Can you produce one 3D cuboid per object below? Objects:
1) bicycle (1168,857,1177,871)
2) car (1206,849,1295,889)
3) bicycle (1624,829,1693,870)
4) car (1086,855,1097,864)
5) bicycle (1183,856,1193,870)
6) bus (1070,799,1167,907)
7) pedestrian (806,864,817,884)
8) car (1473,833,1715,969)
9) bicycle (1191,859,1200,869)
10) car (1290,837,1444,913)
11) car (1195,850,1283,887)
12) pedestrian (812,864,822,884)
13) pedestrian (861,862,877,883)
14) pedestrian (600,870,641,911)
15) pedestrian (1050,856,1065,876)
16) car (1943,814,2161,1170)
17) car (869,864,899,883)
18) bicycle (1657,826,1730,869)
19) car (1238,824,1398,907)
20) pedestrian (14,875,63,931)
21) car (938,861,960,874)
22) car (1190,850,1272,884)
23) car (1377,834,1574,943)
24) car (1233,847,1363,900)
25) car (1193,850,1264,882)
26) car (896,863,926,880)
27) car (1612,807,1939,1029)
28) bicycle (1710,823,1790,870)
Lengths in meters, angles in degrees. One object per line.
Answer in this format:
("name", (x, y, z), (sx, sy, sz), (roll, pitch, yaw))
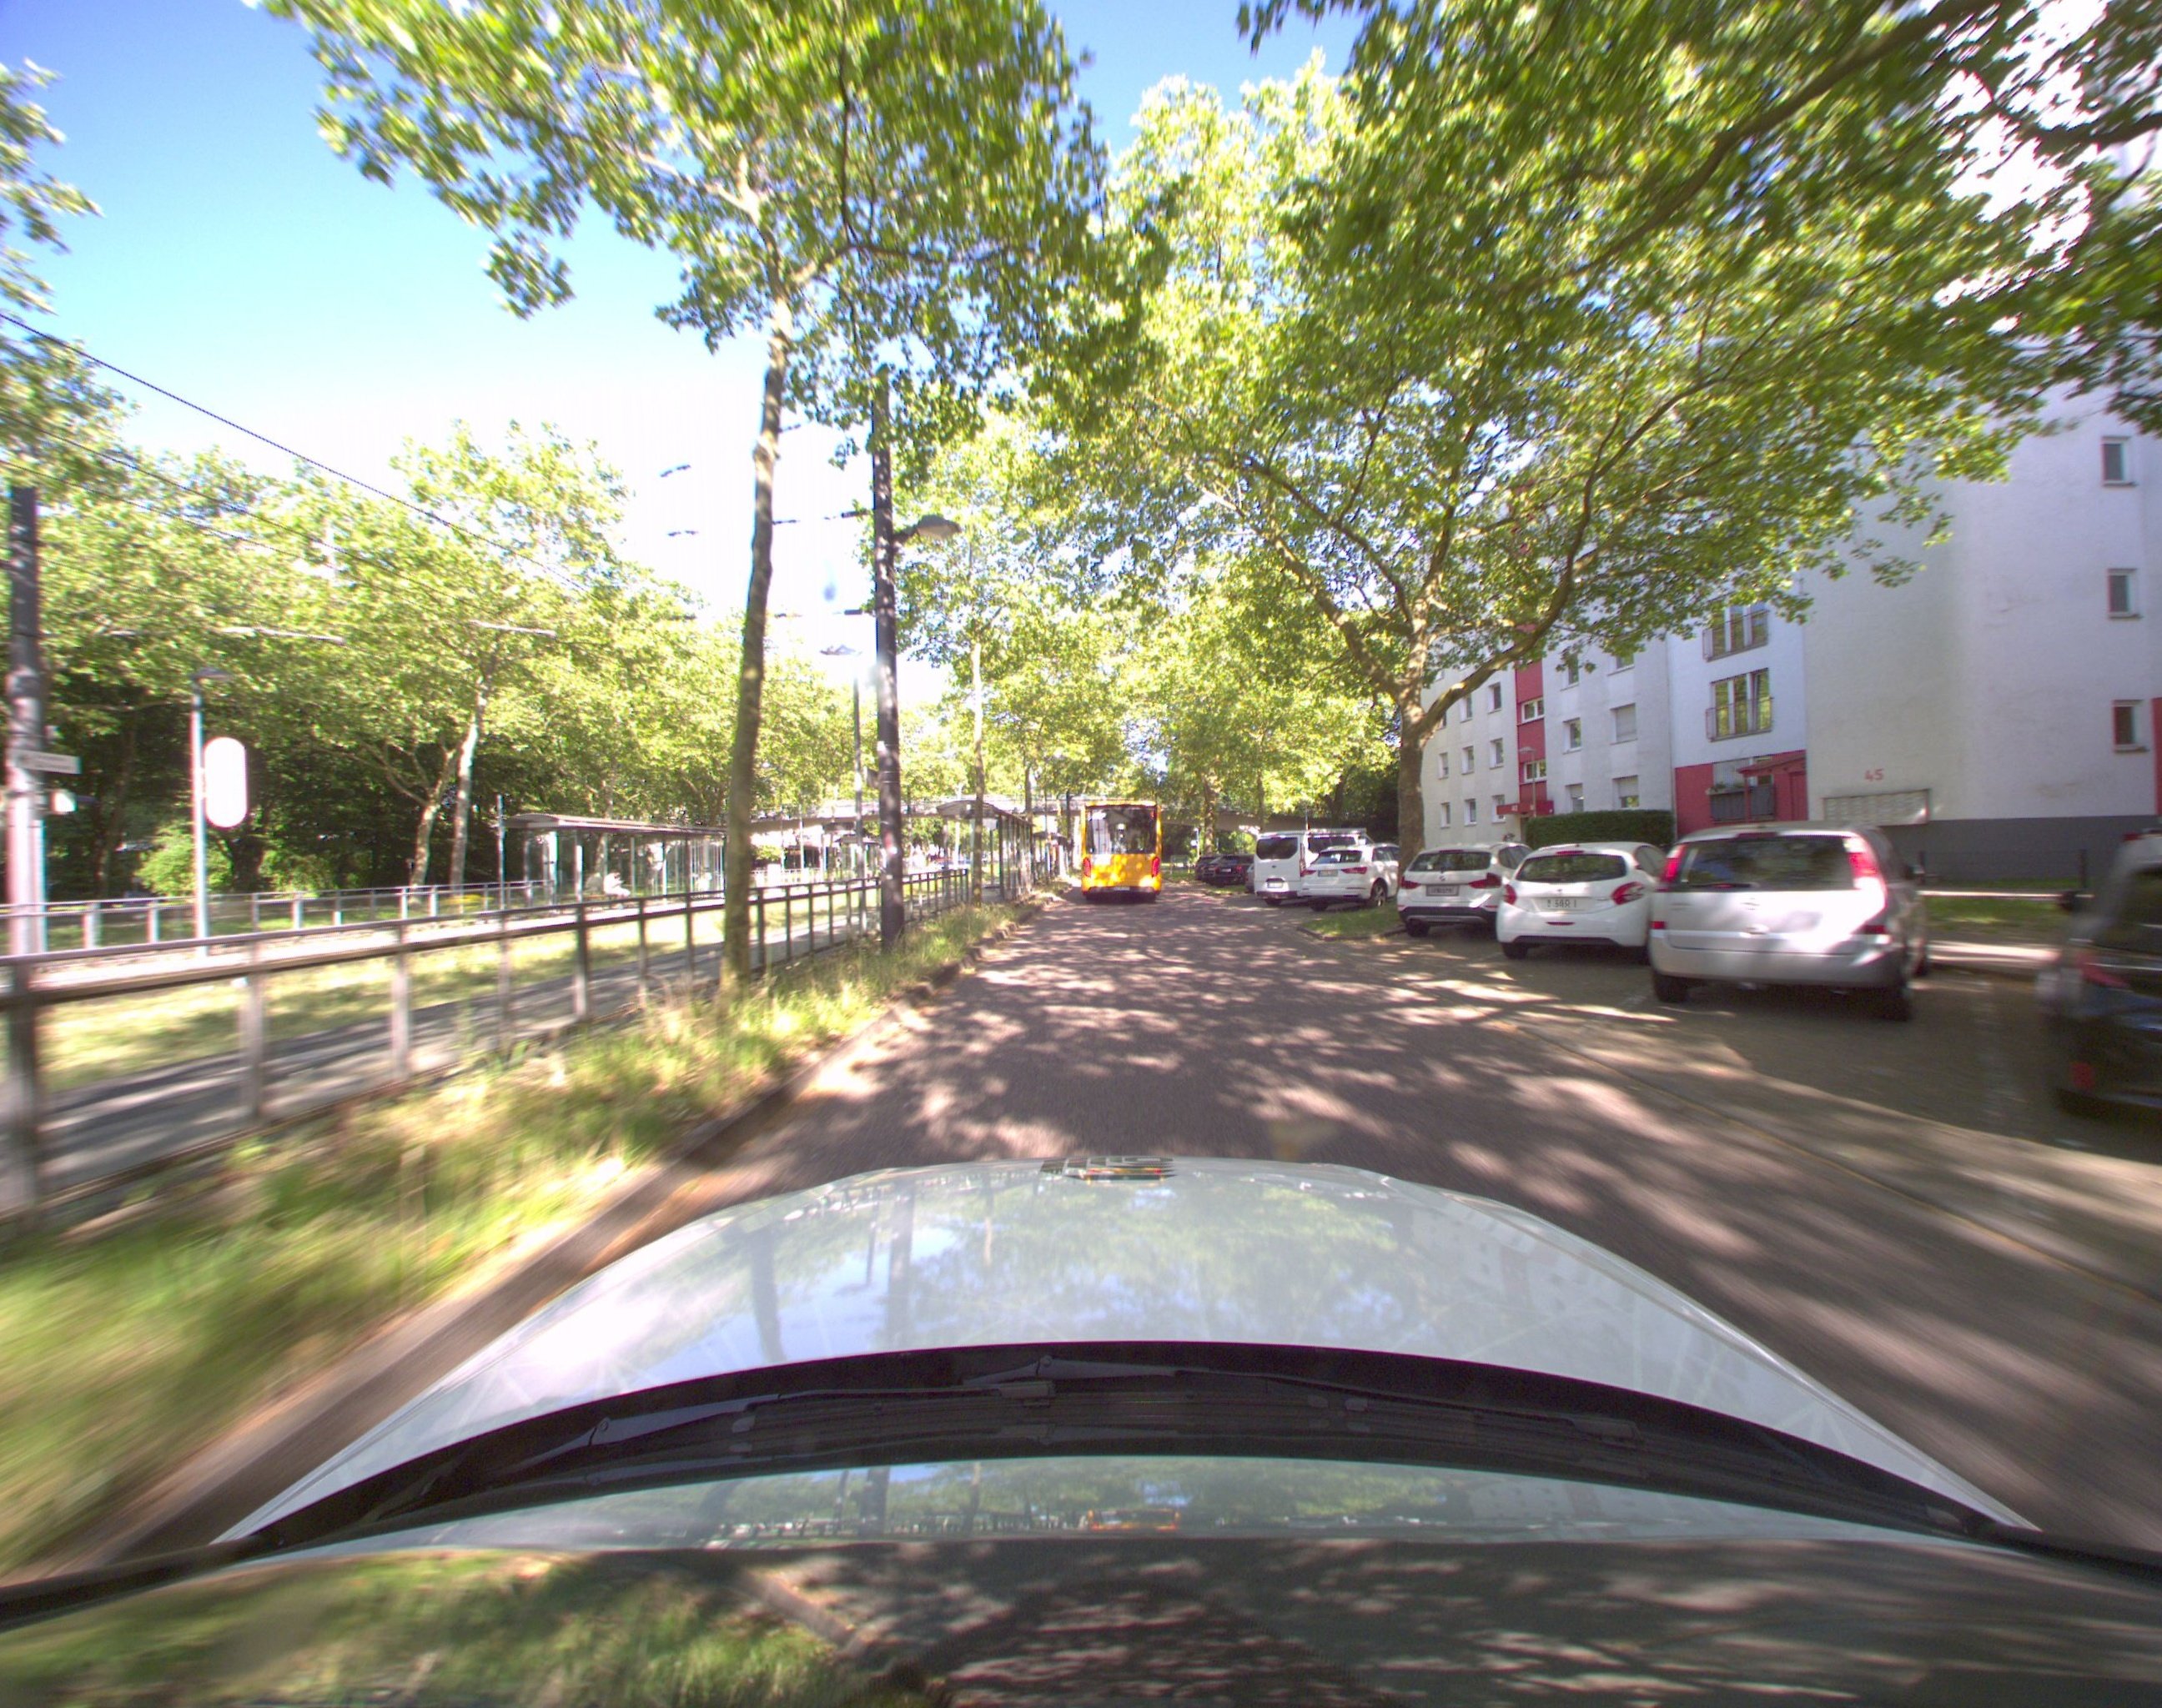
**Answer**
("bicycle", (8.047, 0.878, 71.567), (0.588, 1.182, 1.800), (-5, 0, 1))
("car", (7.601, 0.650, 36.443), (4.022, 1.468, 1.761), (-4, -1, -41))
("bicycle", (18.175, -0.147, 25.623), (1.790, 1.129, 0.499), (-5, 0, -4))
("car", (2.031, 1.046, 154.675), (1.978, 1.643, 4.137), (1, 1, 3))
("bicycle", (9.432, 0.756, 71.523), (0.588, 1.182, 1.800), (-5, 0, 1))
("bus", (1.271, -0.004, 31.254), (2.889, 3.267, 12.219), (-2, 0, 1))
("pedestrian", (-22.828, 1.712, 69.040), (0.646, 1.661, 0.649), (-2, -1, -3))
("car", (7.139, 0.533, 11.160), (4.023, 1.419, 1.809), (-4, -1, -44))
("bicycle", (10.021, 0.875, 71.388), (0.503, 0.852, 1.474), (-5, 0, 1))
("car", (7.242, 0.486, 20.441), (4.080, 1.580, 1.811), (-4, -1, -41))
("car", (7.710, 0.685, 39.524), (4.278, 1.461, 1.779), (-4, -1, -39))
("pedestrian", (-22.604, 1.711, 69.822), (0.646, 1.661, 0.649), (-2, -1, -3))
("pedestrian", (-12.923, 1.119, 49.641), (0.775, 1.238, 0.722), (-1, 0, 0))
("pedestrian", (-13.863, 1.085, 24.517), (0.763, 1.183, 0.763), (-1, 0, 2))
("pedestrian", (-1.454, 0.746, 50.460), (0.851, 1.243, 0.851), (0, 0, 3))
("car", (6.563, 0.514, 4.543), (4.430, 1.428, 1.929), (-4, -1, -38))
("car", (-18.097, 1.784, 74.923), (1.789, 1.566, 4.285), (-2, 0, -2))
("bicycle", (18.401, -0.184, 24.483), (1.790, 1.129, 0.499), (-5, 0, -4))
("car", (6.885, 0.301, 23.442), (4.613, 2.052, 1.994), (-4, -1, -39))
("pedestrian", (-31.979, 1.502, 24.996), (0.645, 1.661, 0.650), (-1, 0, 2))
("car", (-16.231, 1.650, 100.528), (1.787, 1.580, 4.290), (-2, 0, 2))
("car", (7.870, 0.661, 42.492), (4.278, 1.461, 1.779), (-4, -1, -39))
("car", (6.976, 0.522, 14.175), (1.777, 1.510, 4.238), (-4, -1, 44))
("car", (7.252, 0.625, 26.991), (4.614, 1.423, 1.779), (-4, -1, -40))
("car", (8.309, 0.662, 45.782), (4.023, 1.461, 1.778), (-4, -1, -43))
("car", (-16.965, 1.764, 81.136), (1.804, 1.566, 4.249), (-1, 0, -27))
("car", (6.909, 0.436, 7.946), (4.022, 1.589, 1.778), (-4, -1, -41))
("bicycle", (18.475, -0.199, 22.491), (1.790, 1.129, 0.499), (-5, 0, -4))
